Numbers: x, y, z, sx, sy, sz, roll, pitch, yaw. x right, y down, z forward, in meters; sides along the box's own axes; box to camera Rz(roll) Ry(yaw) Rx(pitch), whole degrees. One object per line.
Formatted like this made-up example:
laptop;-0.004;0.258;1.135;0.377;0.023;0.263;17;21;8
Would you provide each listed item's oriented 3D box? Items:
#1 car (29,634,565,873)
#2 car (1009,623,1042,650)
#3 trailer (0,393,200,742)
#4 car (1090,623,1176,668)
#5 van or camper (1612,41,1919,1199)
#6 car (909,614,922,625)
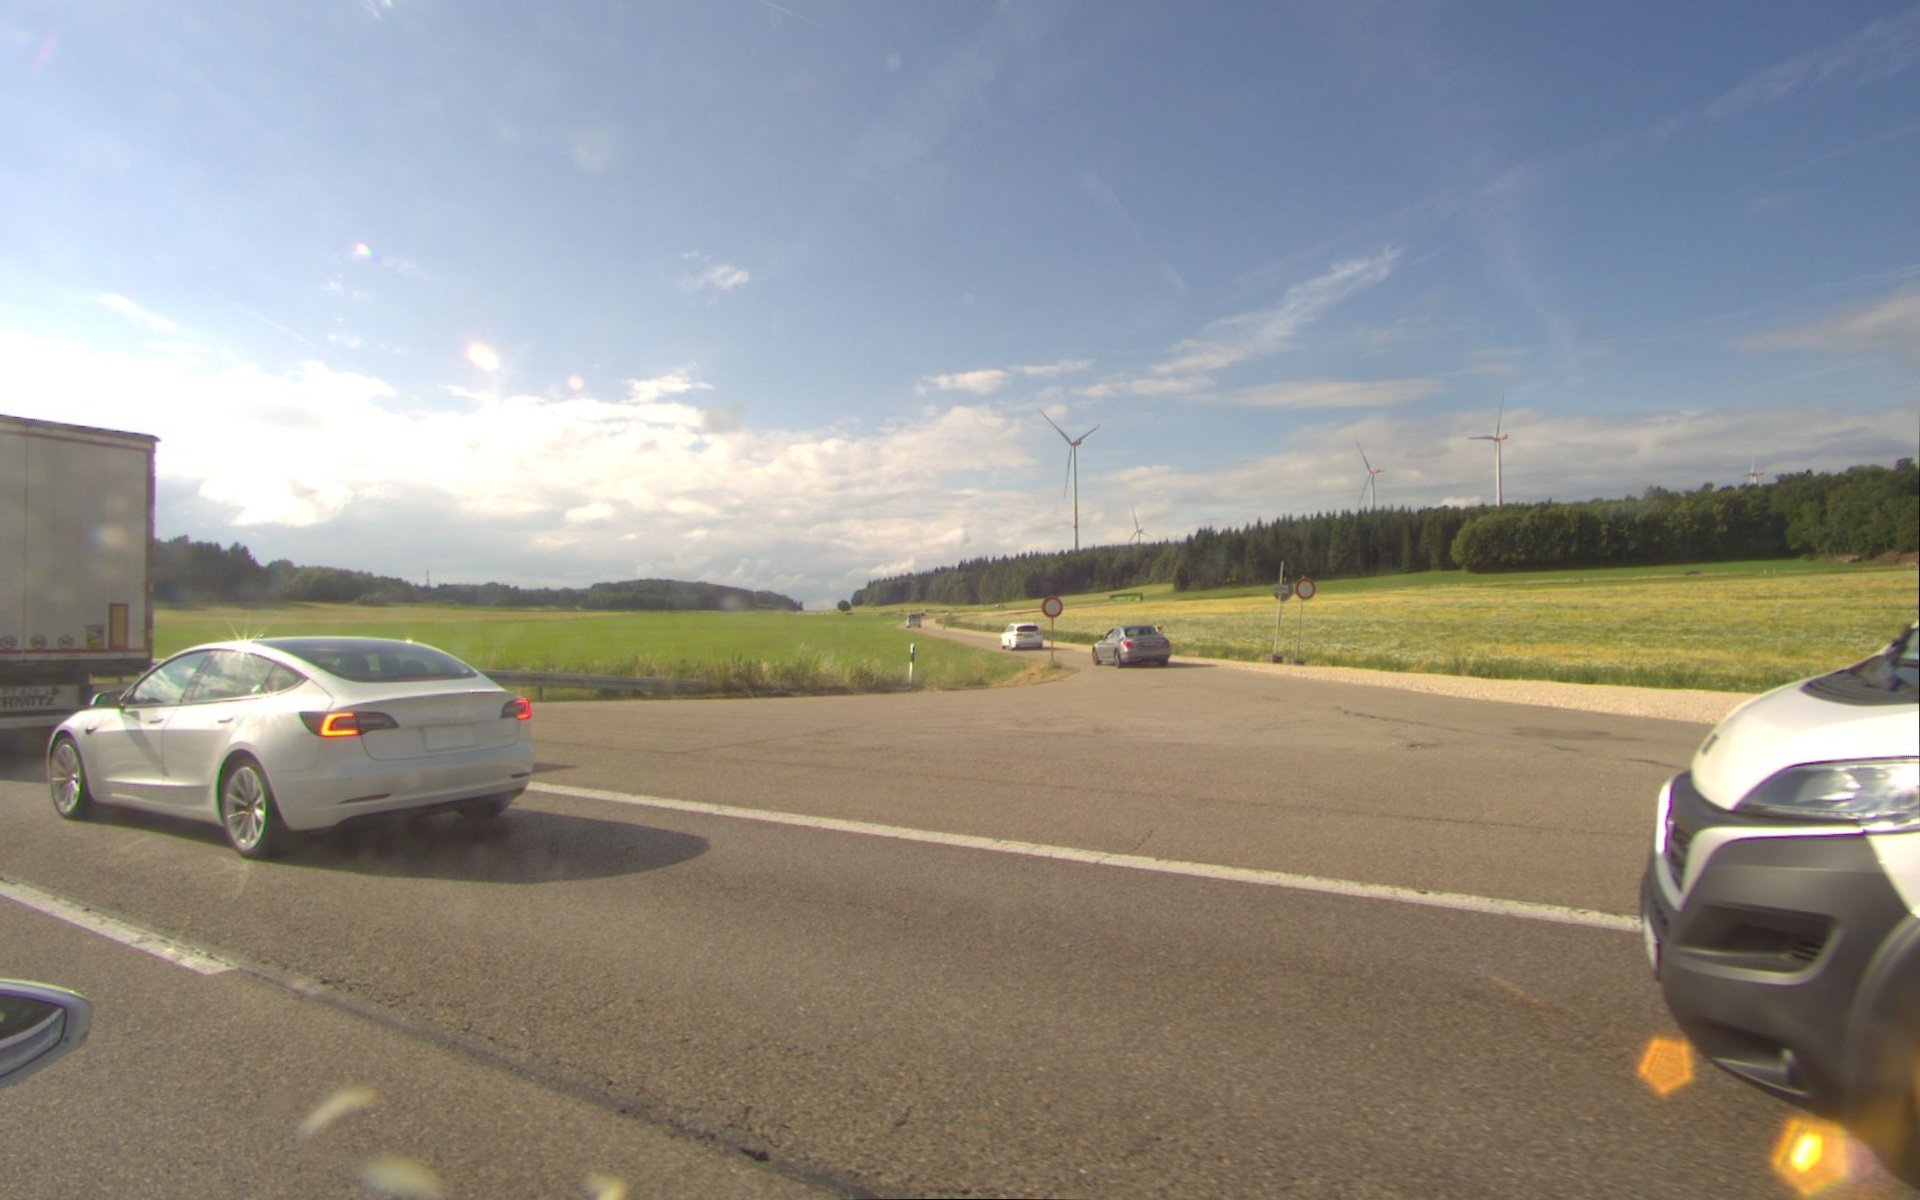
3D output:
car;-5.316;0.985;7.900;4.370;1.412;1.786;-1;-1;30
car;3.650;2.001;56.111;1.676;1.450;4.233;-1;-1;2
trailer;-16.468;-0.131;15.550;13.180;4.061;3.125;-2;-2;33
car;5.964;1.551;35.007;1.677;1.450;4.231;-1;-1;-9
van or camper;4.916;0.091;1.734;6.241;2.716;2.211;-1;-1;32
car;-6.177;2.726;140.005;1.676;1.450;4.232;-1;-1;-4
